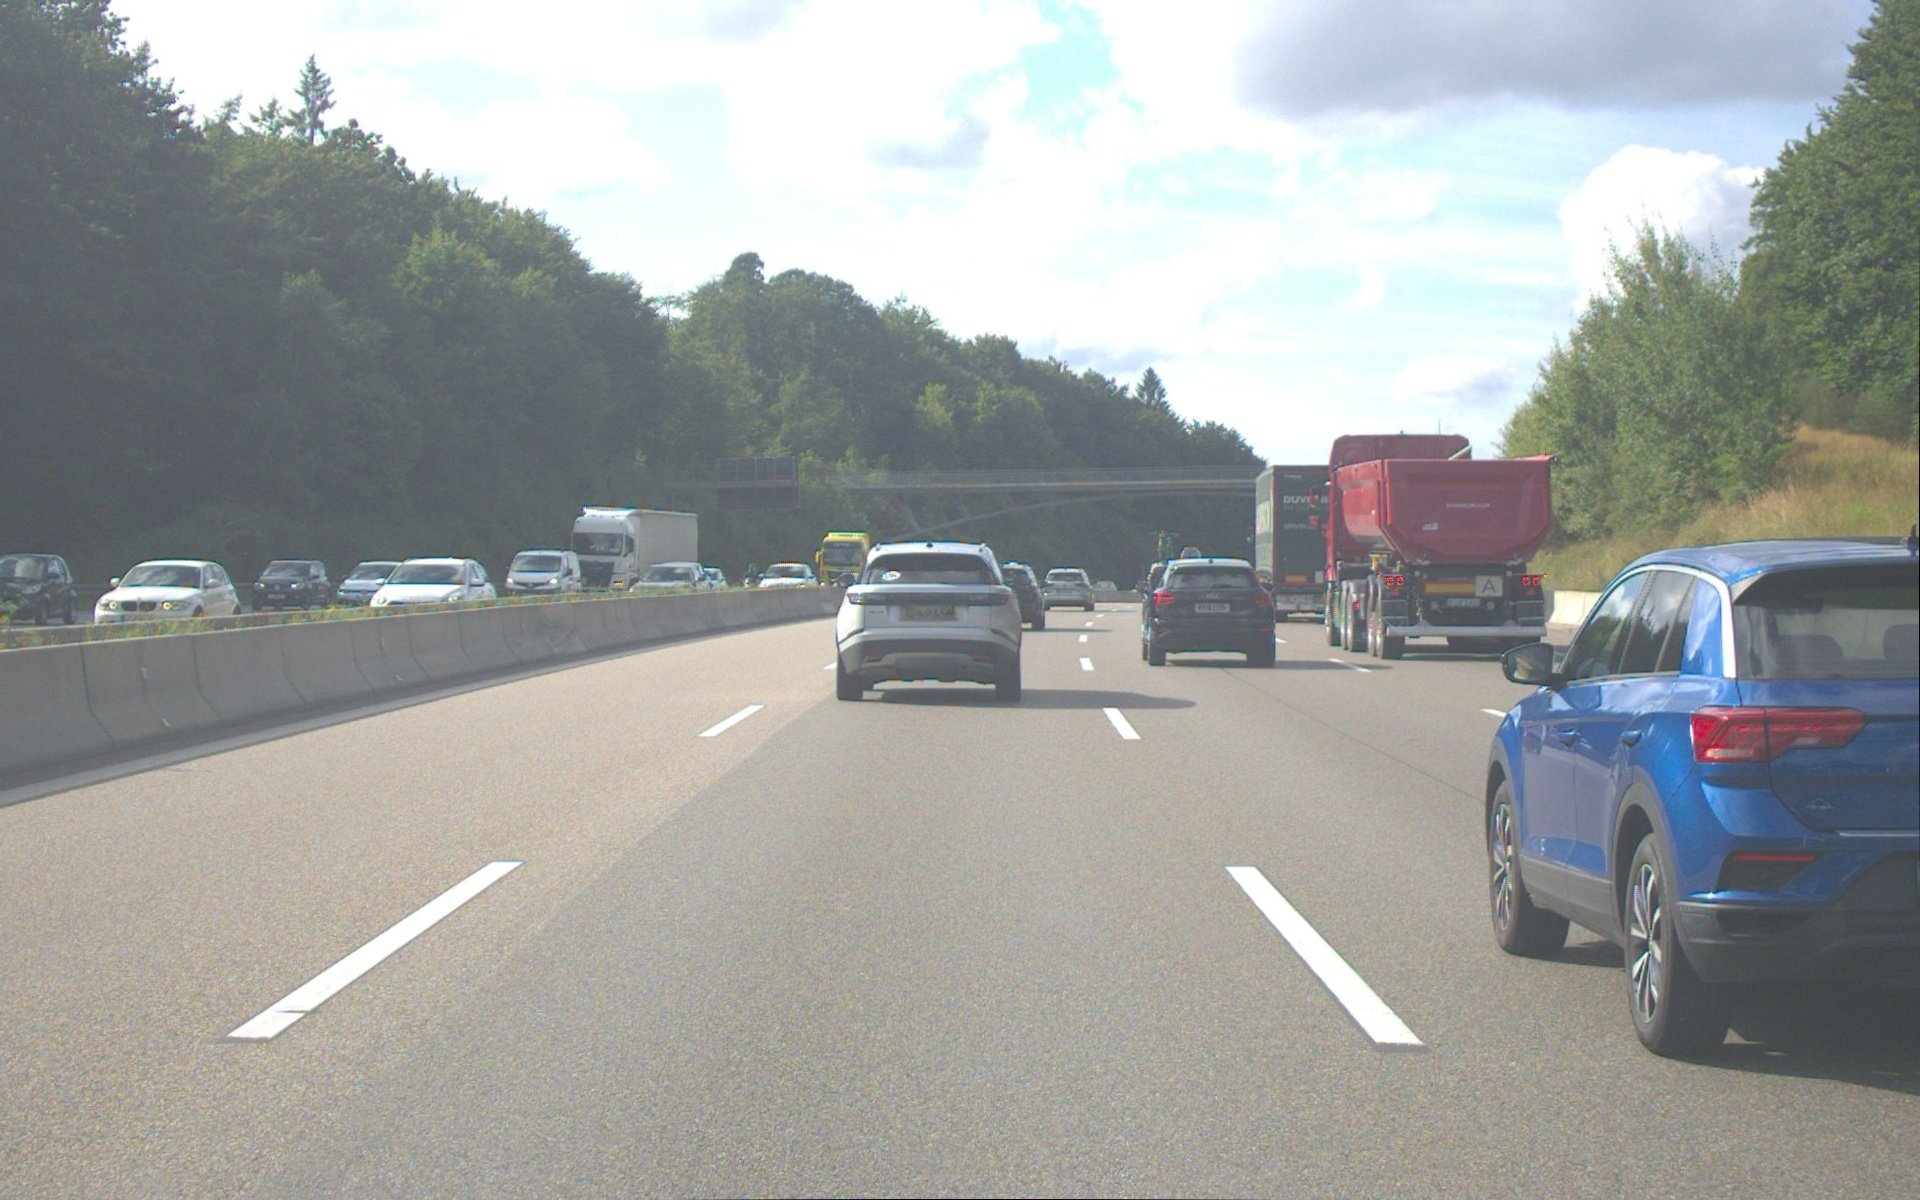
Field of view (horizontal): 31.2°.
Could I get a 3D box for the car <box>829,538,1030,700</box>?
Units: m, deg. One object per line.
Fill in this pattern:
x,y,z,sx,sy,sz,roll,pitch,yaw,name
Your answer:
-0.327,0.144,37.276,2.006,1.611,5.301,1,1,0,car

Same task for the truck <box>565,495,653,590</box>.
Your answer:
-15.248,-2.500,149.619,2.707,4.054,6.597,1,1,4,truck

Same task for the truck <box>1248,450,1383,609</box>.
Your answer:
9.284,-1.843,90.676,3.119,3.921,10.410,1,1,4,truck

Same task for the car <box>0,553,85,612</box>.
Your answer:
-19.973,-0.384,73.615,1.494,1.208,3.269,1,1,3,car

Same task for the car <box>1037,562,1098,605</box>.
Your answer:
3.701,-0.577,117.946,1.823,1.452,3.999,1,0,5,car

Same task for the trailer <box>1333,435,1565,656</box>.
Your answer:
7.703,-0.877,55.304,2.710,3.220,9.732,1,1,2,trailer

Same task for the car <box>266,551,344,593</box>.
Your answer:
-19.062,-0.829,100.166,1.494,1.208,3.788,0,1,1,car

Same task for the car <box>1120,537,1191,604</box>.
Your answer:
5.539,-0.860,97.880,1.894,1.850,4.100,1,1,2,car

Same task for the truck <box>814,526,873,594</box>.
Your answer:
-6.650,-2.330,197.003,2.777,3.797,7.134,0,1,3,truck

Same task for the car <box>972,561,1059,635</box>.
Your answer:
1.263,-0.067,76.341,1.822,1.541,4.000,1,1,2,car

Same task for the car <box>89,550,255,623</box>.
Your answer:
-13.603,-0.255,59.590,1.647,1.196,4.440,1,1,3,car

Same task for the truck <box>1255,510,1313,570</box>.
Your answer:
16.389,-2.979,173.772,2.845,2.915,8.384,1,0,6,truck

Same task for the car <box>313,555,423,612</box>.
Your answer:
-16.209,-0.476,94.337,2.071,1.468,4.671,1,1,2,car

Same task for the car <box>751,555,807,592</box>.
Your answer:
-7.540,-1.121,143.746,1.848,1.493,4.128,1,1,4,car

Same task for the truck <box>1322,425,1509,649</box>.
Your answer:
7.893,-1.095,60.201,2.710,3.706,5.817,1,1,2,truck

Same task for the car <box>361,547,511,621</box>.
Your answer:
-9.693,-0.322,63.955,1.993,1.304,4.832,1,1,1,car

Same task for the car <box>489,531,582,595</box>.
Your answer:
-12.515,-1.111,101.621,1.994,1.831,4.729,1,1,2,car

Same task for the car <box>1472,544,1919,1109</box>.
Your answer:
2.903,0.580,11.512,1.773,1.525,4.458,0,1,1,car

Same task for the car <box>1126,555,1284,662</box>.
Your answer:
3.477,0.094,49.369,1.822,1.452,4.000,0,1,-2,car
